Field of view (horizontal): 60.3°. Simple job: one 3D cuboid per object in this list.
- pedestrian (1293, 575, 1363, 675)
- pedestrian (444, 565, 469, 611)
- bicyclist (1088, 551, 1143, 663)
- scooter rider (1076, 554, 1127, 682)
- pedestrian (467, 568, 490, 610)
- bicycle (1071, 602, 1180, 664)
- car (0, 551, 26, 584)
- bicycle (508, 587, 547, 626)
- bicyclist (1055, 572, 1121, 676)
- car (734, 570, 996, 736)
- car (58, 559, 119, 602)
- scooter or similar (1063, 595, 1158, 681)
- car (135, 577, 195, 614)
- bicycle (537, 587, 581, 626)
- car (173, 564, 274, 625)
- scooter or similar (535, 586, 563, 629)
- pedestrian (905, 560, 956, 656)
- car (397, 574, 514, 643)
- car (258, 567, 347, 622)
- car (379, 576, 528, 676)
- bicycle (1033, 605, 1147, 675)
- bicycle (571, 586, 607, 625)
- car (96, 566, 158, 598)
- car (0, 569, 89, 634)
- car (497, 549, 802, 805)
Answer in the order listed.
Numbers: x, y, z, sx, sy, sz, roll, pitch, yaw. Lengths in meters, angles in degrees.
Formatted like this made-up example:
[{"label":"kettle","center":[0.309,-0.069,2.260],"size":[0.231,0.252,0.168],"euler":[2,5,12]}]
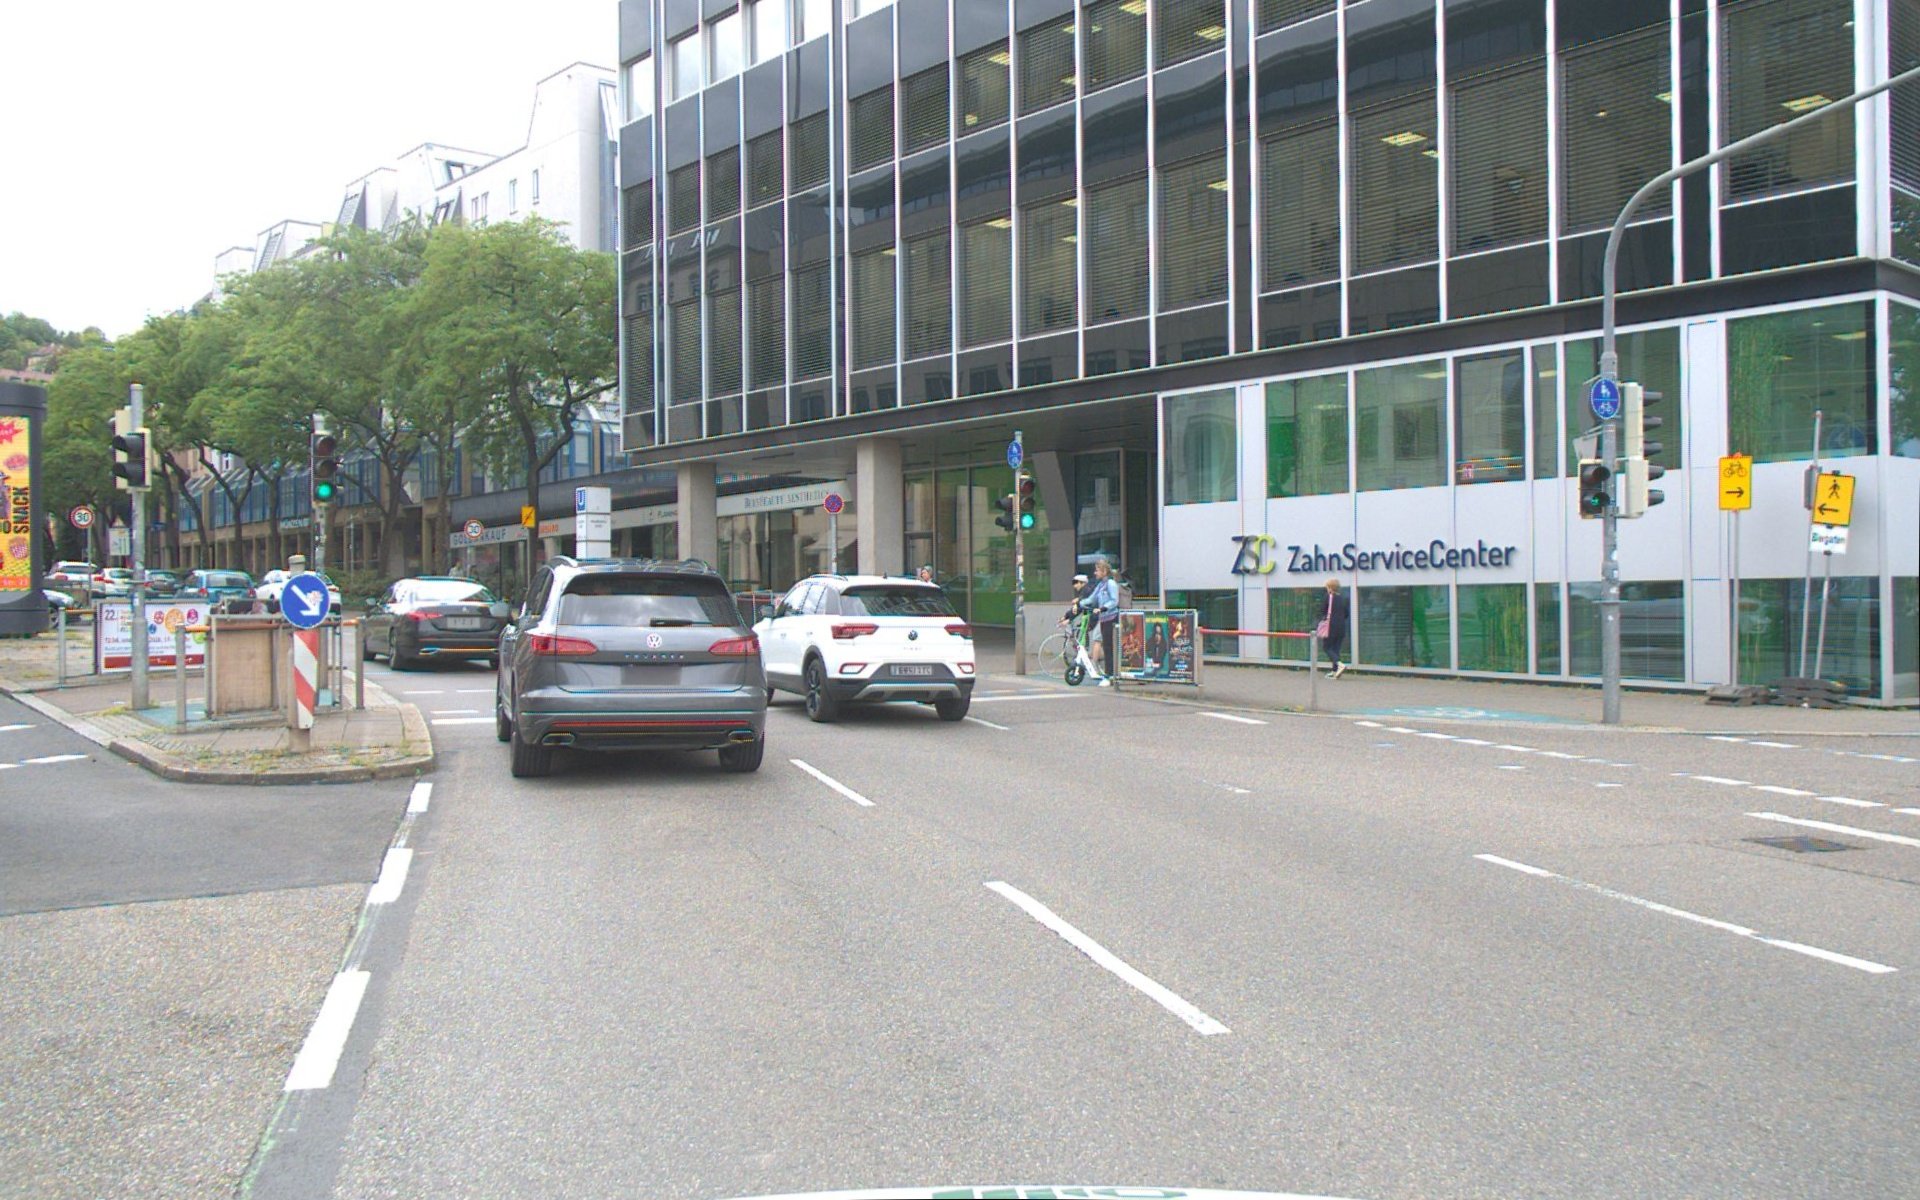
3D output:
[{"label":"pedestrian","center":[5.557,0.367,25.005],"size":[0.600,1.468,0.827],"euler":[-2,2,-40]},{"label":"pedestrian","center":[-19.782,-0.471,65.021],"size":[0.592,1.784,0.927],"euler":[-2,2,-41]},{"label":"bicyclist","center":[2.646,0.109,28.160],"size":[0.794,1.878,0.675],"euler":[0,1,19]},{"label":"scooter rider","center":[2.075,0.259,24.181],"size":[0.628,1.840,0.594],"euler":[-1,1,13]},{"label":"pedestrian","center":[-19.112,-0.445,65.655],"size":[0.592,1.657,0.746],"euler":[-2,2,-41]},{"label":"bicycle","center":[2.817,0.556,28.121],"size":[1.725,1.024,0.681],"euler":[0,1,19]},{"label":"car","center":[-55.718,-1.877,96.401],"size":[1.816,1.907,4.812],"euler":[-2,2,-34]},{"label":"bicycle","center":[-12.940,0.189,49.469],"size":[0.485,1.152,1.820],"euler":[-1,1,-36]},{"label":"bicyclist","center":[1.975,0.368,25.490],"size":[0.827,1.576,0.565],"euler":[-1,1,26]},{"label":"car","center":[-1.202,0.502,18.976],"size":[1.773,1.572,3.908],"euler":[-2,3,-23]},{"label":"car","center":[-34.036,-0.752,64.529],"size":[1.815,1.594,3.726],"euler":[-2,1,-32]},{"label":"scooter or similar","center":[2.204,0.552,24.159],"size":[1.291,1.196,0.594],"euler":[-1,1,13]},{"label":"car","center":[-31.506,-0.208,65.532],"size":[1.813,1.387,3.728],"euler":[-2,1,-31]},{"label":"bicycle","center":[-12.115,0.180,49.975],"size":[0.487,1.152,1.859],"euler":[-1,1,-41]},{"label":"car","center":[-20.228,-0.169,45.362],"size":[1.818,1.544,3.719],"euler":[-2,2,-36]},{"label":"scooter or similar","center":[-12.281,0.228,49.438],"size":[0.979,1.273,0.305],"euler":[0,1,42]},{"label":"pedestrian","center":[-0.550,0.145,30.697],"size":[0.522,1.741,0.742],"euler":[-3,0,-41]},{"label":"car","center":[-11.910,0.166,38.890],"size":[1.813,1.457,4.108],"euler":[0,2,-29]},{"label":"car","center":[-19.736,-0.182,49.567],"size":[1.815,1.544,3.726],"euler":[-2,1,-32]},{"label":"car","center":[-8.352,0.366,27.058],"size":[1.810,1.419,4.116],"euler":[0,2,-25]},{"label":"bicycle","center":[2.003,0.618,25.486],"size":[1.631,1.045,0.581],"euler":[-1,1,26]},{"label":"bicycle","center":[-11.305,0.164,50.360],"size":[0.485,1.152,1.668],"euler":[-1,1,-35]},{"label":"car","center":[-39.554,-0.867,78.488],"size":[2.039,1.443,4.281],"euler":[-2,2,-35]},{"label":"car","center":[-22.814,0.030,38.438],"size":[4.498,1.484,1.864],"euler":[-1,1,-28]},{"label":"car","center":[-2.722,0.473,13.692],"size":[1.940,1.725,4.203],"euler":[-2,2,-18]}]
